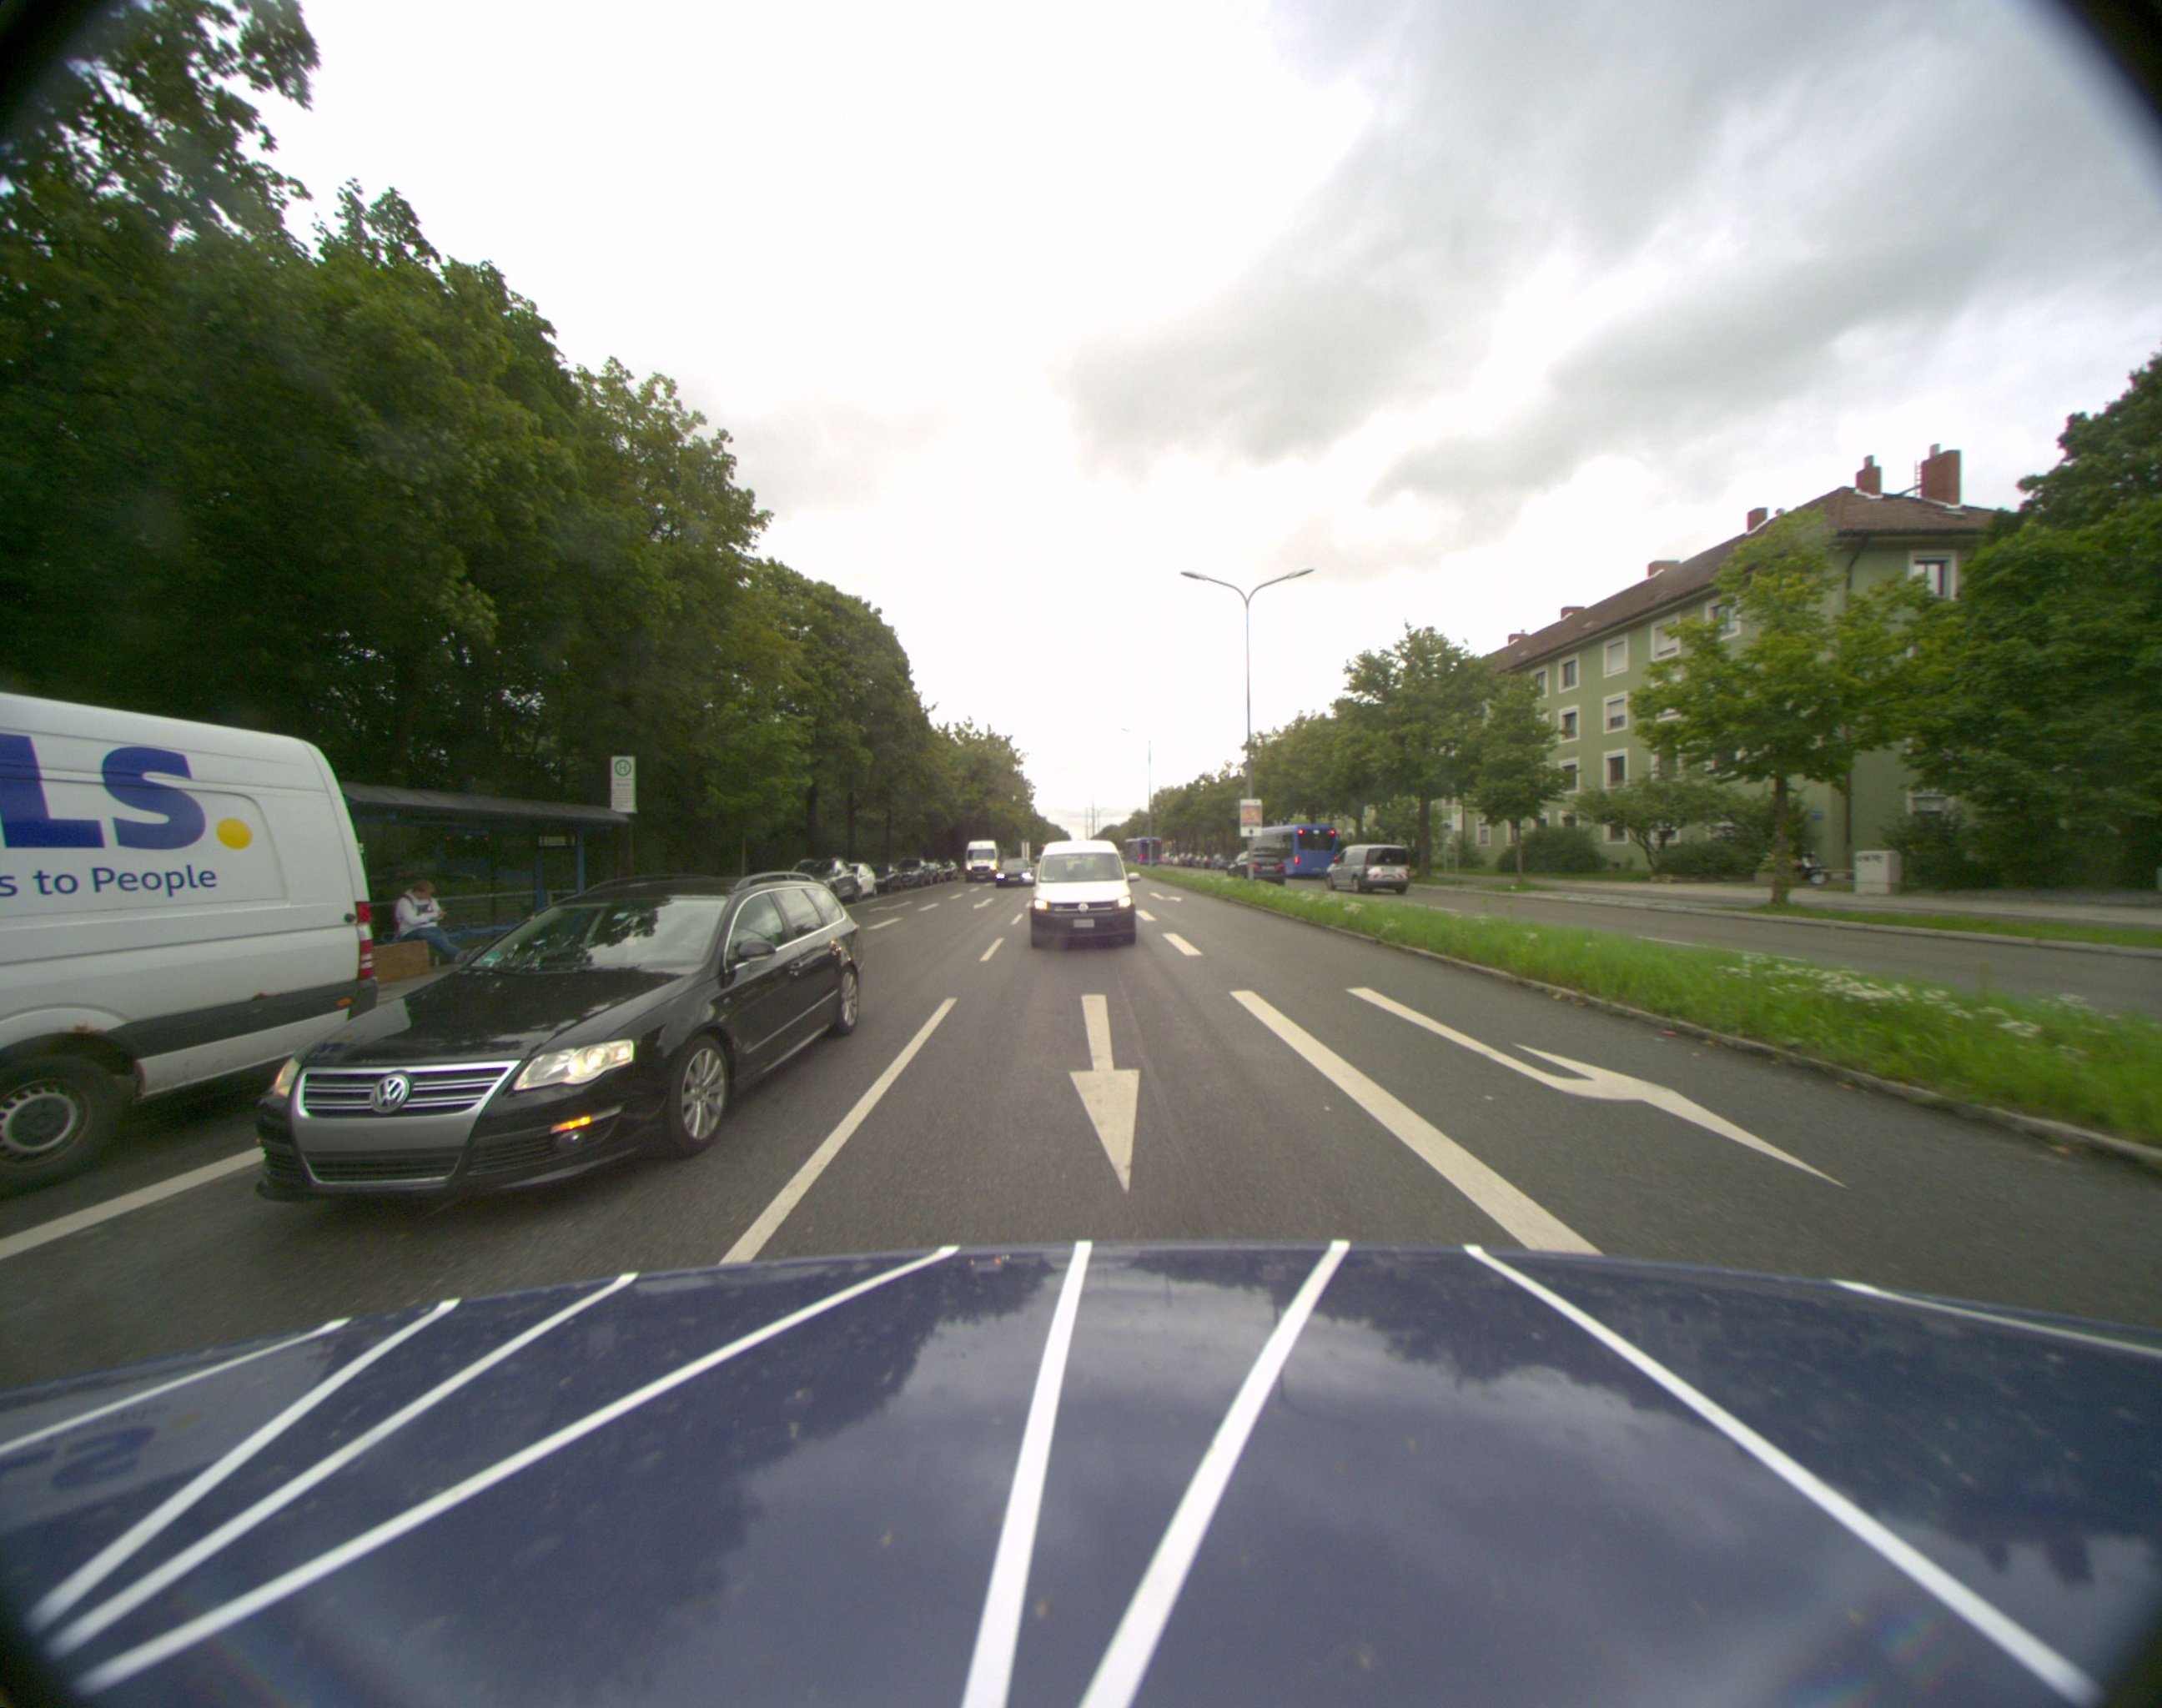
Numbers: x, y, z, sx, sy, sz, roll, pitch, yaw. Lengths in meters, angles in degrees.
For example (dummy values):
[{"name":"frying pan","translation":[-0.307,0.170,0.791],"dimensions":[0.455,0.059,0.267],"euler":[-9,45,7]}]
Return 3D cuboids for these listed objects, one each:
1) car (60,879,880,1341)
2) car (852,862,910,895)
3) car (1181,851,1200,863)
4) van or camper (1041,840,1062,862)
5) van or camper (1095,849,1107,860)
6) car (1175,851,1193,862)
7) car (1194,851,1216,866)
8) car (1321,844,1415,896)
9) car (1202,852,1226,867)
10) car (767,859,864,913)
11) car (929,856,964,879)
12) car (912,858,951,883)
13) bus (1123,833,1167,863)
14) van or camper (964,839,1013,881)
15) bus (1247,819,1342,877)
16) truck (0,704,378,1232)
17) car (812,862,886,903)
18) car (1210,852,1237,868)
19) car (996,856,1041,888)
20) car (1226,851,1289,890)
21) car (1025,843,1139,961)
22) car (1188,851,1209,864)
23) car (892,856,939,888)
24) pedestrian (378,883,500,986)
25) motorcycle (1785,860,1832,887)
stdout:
[{"name":"car","translation":[-2.847,1.016,5.126],"dimensions":[1.752,1.466,4.670],"euler":[-2,0,-1]},{"name":"car","translation":[-9.795,1.146,37.447],"dimensions":[1.752,1.420,4.254],"euler":[-1,0,-1]},{"name":"car","translation":[13.718,0.341,95.355],"dimensions":[1.857,1.454,3.909],"euler":[-2,0,1]},{"name":"van or camper","translation":[-4.441,-0.426,116.547],"dimensions":[2.780,3.219,7.074],"euler":[-1,0,1]},{"name":"van or camper","translation":[3.760,0.134,145.017],"dimensions":[1.999,2.002,3.999],"euler":[-1,1,-1]},{"name":"car","translation":[13.586,0.321,100.542],"dimensions":[1.857,1.454,3.909],"euler":[-2,0,1]},{"name":"car","translation":[13.741,0.484,84.343],"dimensions":[1.857,1.454,3.909],"euler":[-2,0,1]},{"name":"car","translation":[10.795,0.551,28.937],"dimensions":[1.784,1.801,4.429],"euler":[2,0,-1]},{"name":"car","translation":[13.726,0.513,78.523],"dimensions":[1.857,1.454,3.909],"euler":[-2,0,1]},{"name":"car","translation":[-9.181,1.050,26.690],"dimensions":[1.884,1.640,4.396],"euler":[-1,0,-1]},{"name":"car","translation":[-9.440,0.921,53.582],"dimensions":[1.752,1.458,4.254],"euler":[-1,0,-1]},{"name":"car","translation":[-9.515,1.035,48.694],"dimensions":[1.752,1.458,4.037],"euler":[-1,0,-1]},{"name":"bus","translation":[7.404,-0.734,89.741],"dimensions":[2.754,3.324,12.265],"euler":[0,0,-7]},{"name":"van or camper","translation":[-5.880,0.336,49.165],"dimensions":[2.183,2.546,7.074],"euler":[-1,0,1]},{"name":"bus","translation":[13.728,-0.390,50.247],"dimensions":[2.752,3.324,12.047],"euler":[0,0,-1]},{"name":"truck","translation":[-6.292,0.588,2.072],"dimensions":[1.999,2.588,7.226],"euler":[-1,0,0]},{"name":"car","translation":[-9.638,1.148,31.910],"dimensions":[1.752,1.515,4.396],"euler":[-1,0,-1]},{"name":"car","translation":[13.820,0.532,73.657],"dimensions":[1.857,1.454,3.909],"euler":[-2,0,1]},{"name":"car","translation":[-3.208,0.899,39.770],"dimensions":[1.819,1.421,4.671],"euler":[-3,0,1]},{"name":"car","translation":[7.770,0.674,33.769],"dimensions":[1.702,1.561,4.290],"euler":[-1,0,-1]},{"name":"car","translation":[-0.007,0.735,14.237],"dimensions":[1.752,1.809,4.670],"euler":[-1,0,-1]},{"name":"car","translation":[13.728,0.369,89.285],"dimensions":[1.857,1.454,3.909],"euler":[-2,0,1]},{"name":"car","translation":[-9.392,0.993,43.462],"dimensions":[1.752,1.640,4.254],"euler":[-1,0,-1]},{"name":"pedestrian","translation":[-9.416,1.163,11.178],"dimensions":[1.157,1.375,0.611],"euler":[-4,1,-2]},{"name":"motorcycle","translation":[25.270,0.659,26.417],"dimensions":[0.434,0.877,1.234],"euler":[-1,1,-1]}]
